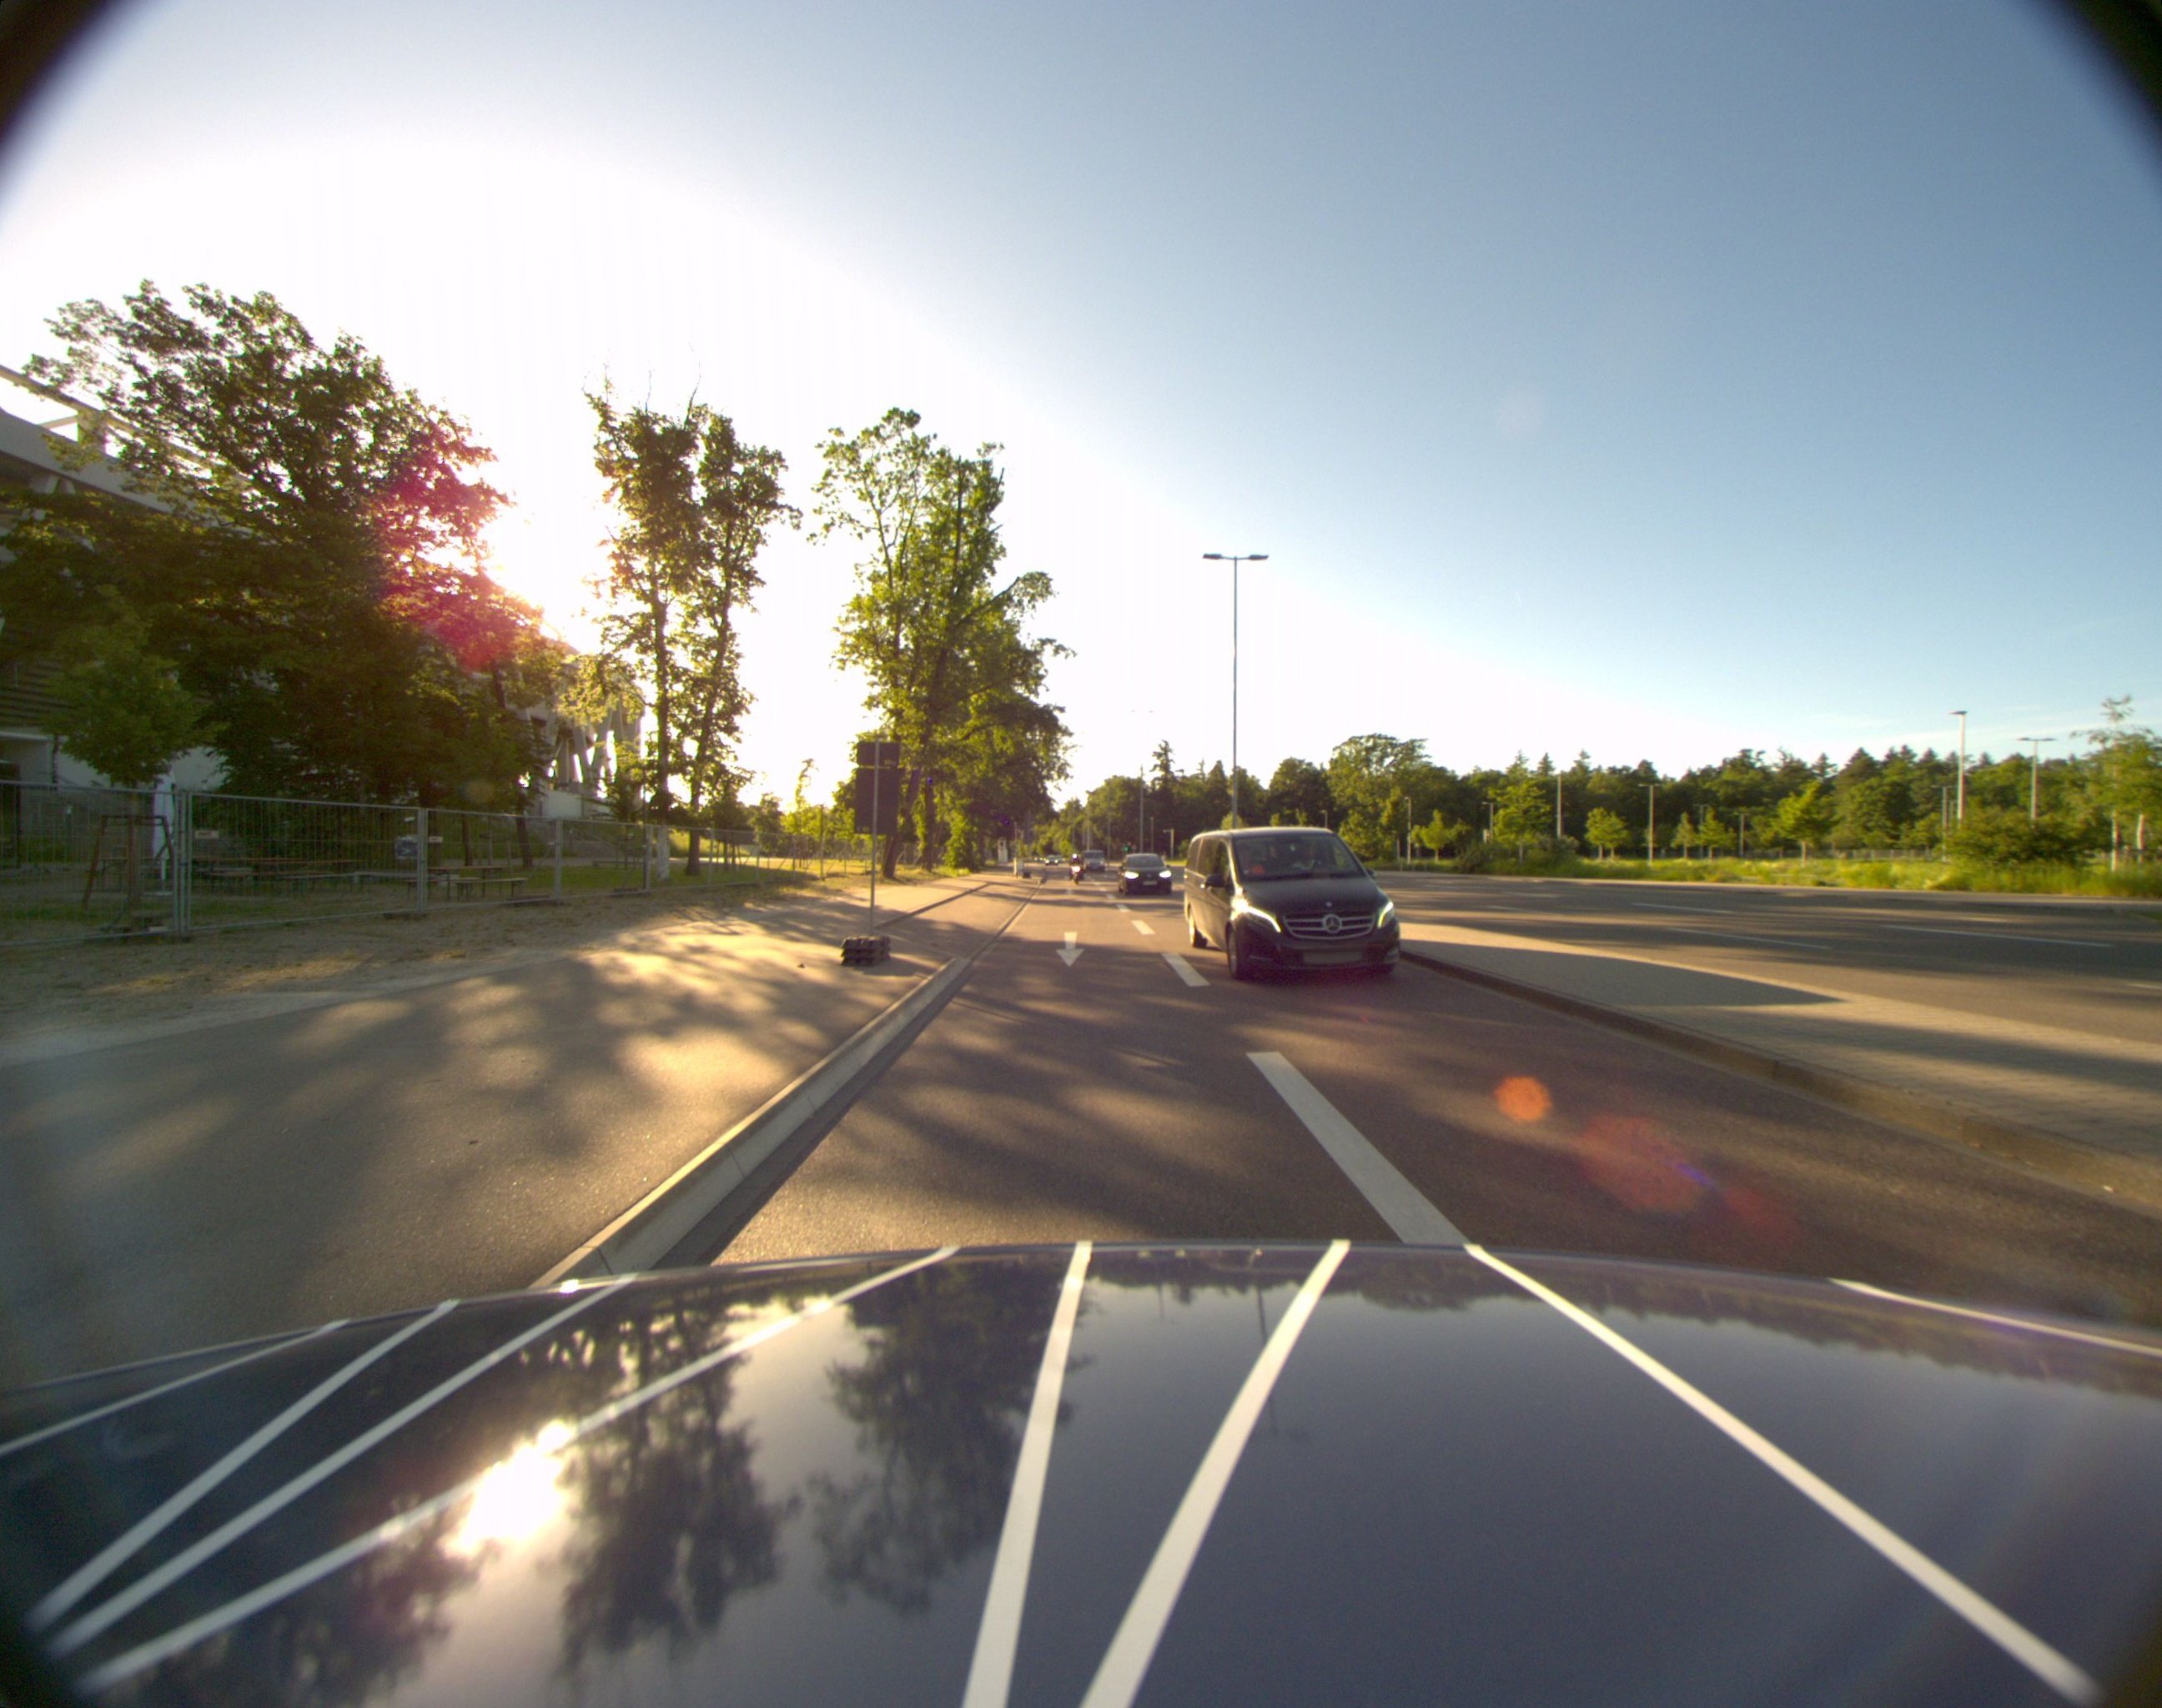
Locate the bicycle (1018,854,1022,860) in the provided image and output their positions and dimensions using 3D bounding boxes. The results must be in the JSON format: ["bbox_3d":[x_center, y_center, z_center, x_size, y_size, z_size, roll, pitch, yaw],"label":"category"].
[{"bbox_3d":[-9.554,0.477,119.748,0.481,0.854,1.910,0,0,1],"label":"bicycle"}]

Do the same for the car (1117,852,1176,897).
[{"bbox_3d":[2.511,0.749,29.923,1.883,1.528,3.999,-2,1,0],"label":"car"}]

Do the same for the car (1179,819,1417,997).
[{"bbox_3d":[2.652,0.545,10.592,1.912,1.845,4.872,-2,1,1],"label":"car"}]

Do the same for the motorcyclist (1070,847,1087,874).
[{"bbox_3d":[-0.124,0.338,40.594,0.822,1.367,0.476,-2,1,1],"label":"motorcyclist"}]

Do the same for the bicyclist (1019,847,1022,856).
[{"bbox_3d":[-9.539,-0.460,119.793,0.451,1.412,0.575,0,1,0],"label":"bicyclist"}]

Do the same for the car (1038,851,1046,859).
[{"bbox_3d":[-9.916,0.236,195.378,1.774,1.849,3.999,-2,1,1],"label":"car"}]

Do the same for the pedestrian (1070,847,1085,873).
[{"bbox_3d":[-0.170,0.322,41.105,0.739,1.387,0.500,-2,1,1],"label":"pedestrian"}]

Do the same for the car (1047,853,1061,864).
[{"bbox_3d":[-4.092,0.641,115.595,1.883,1.629,5.048,-2,0,0],"label":"car"}]

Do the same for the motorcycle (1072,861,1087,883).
[{"bbox_3d":[-0.085,0.957,40.971,0.717,1.058,2.721,-2,0,1],"label":"motorcycle"}]

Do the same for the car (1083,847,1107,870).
[{"bbox_3d":[1.188,0.400,67.357,1.883,1.951,5.048,-2,0,0],"label":"car"}]

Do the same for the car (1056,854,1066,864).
[{"bbox_3d":[-3.718,0.885,143.466,1.675,1.827,3.982,-2,1,1],"label":"car"}]
